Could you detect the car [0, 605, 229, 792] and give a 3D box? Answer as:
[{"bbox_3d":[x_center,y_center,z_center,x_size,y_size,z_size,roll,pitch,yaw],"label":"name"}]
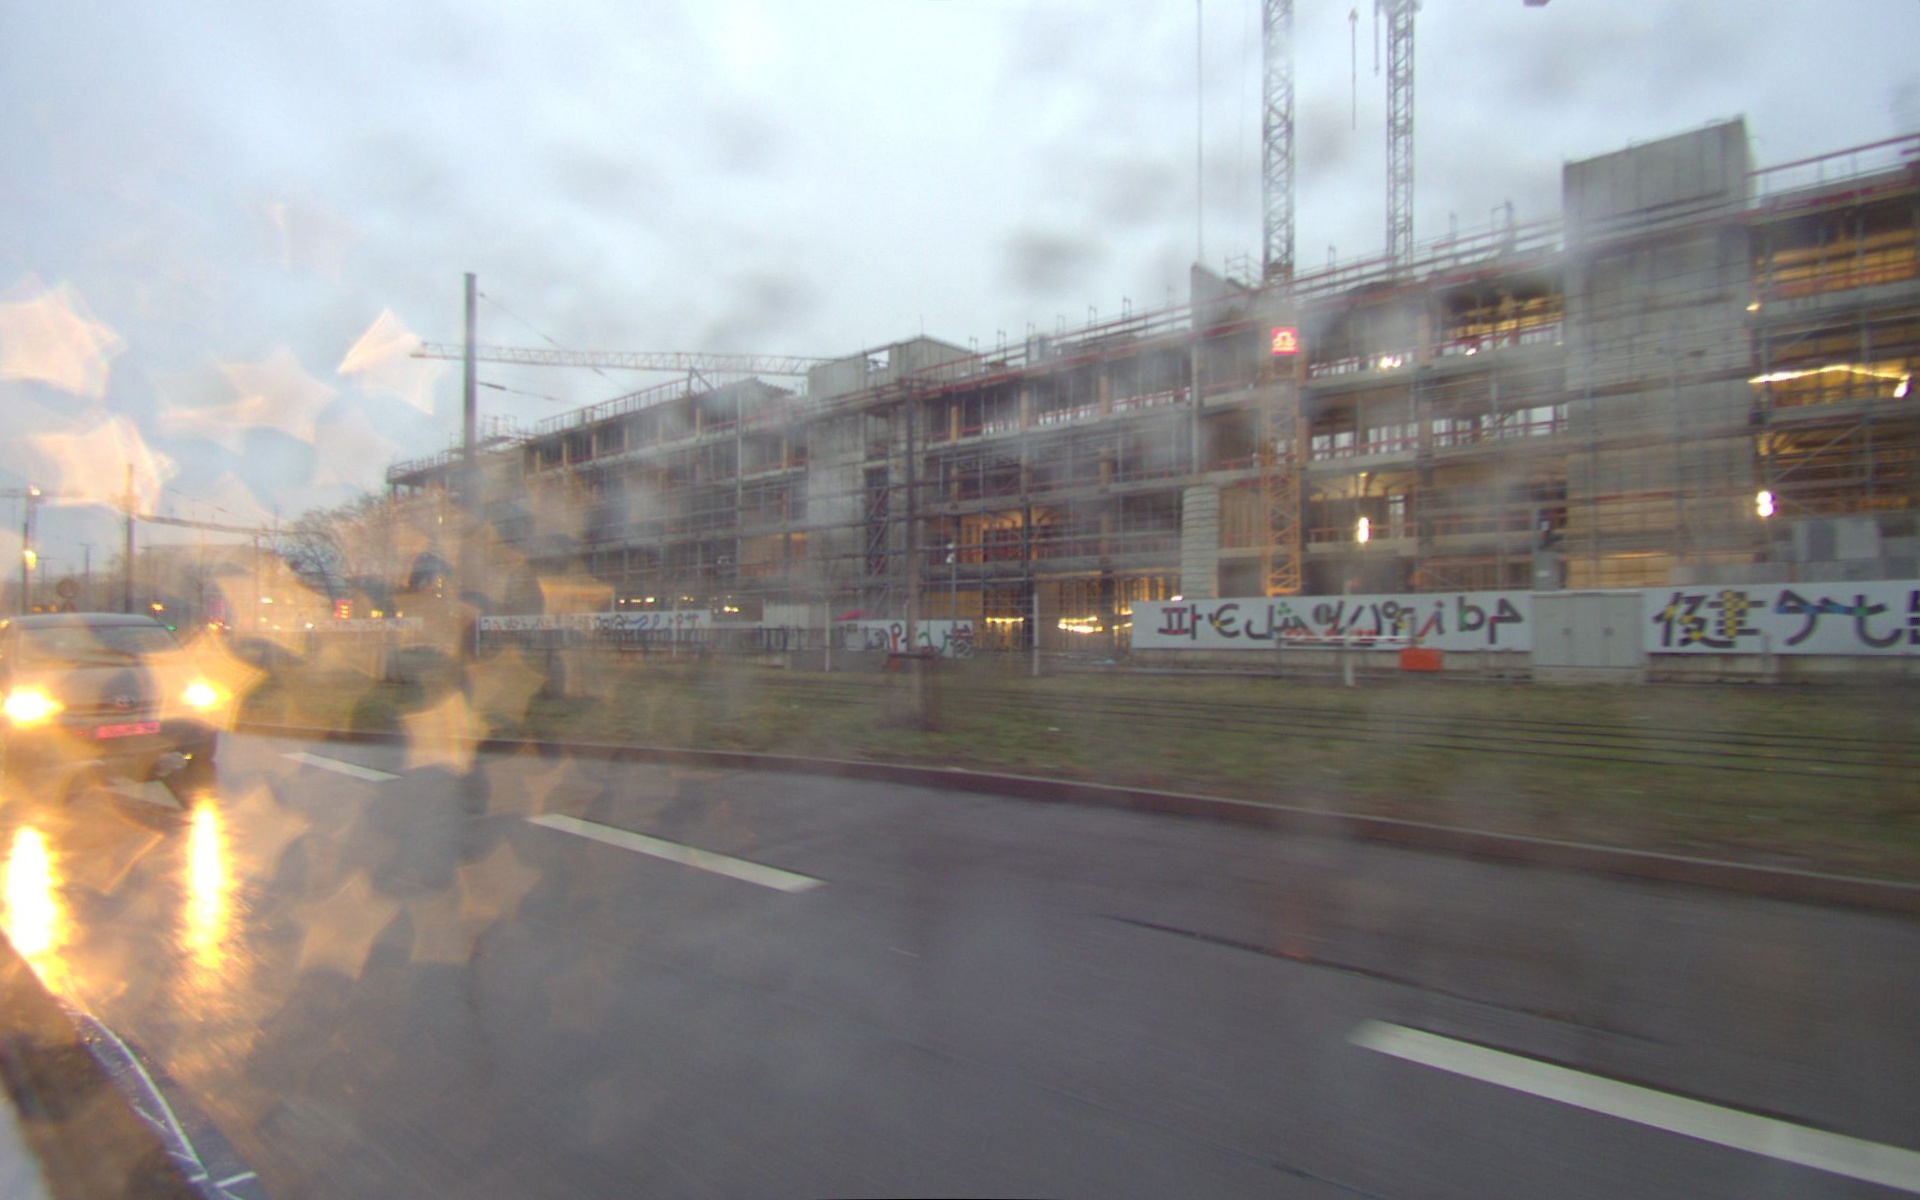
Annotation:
[{"bbox_3d":[-9.552,0.932,10.957,4.133,1.659,1.792,-2,-2,41],"label":"car"}]
